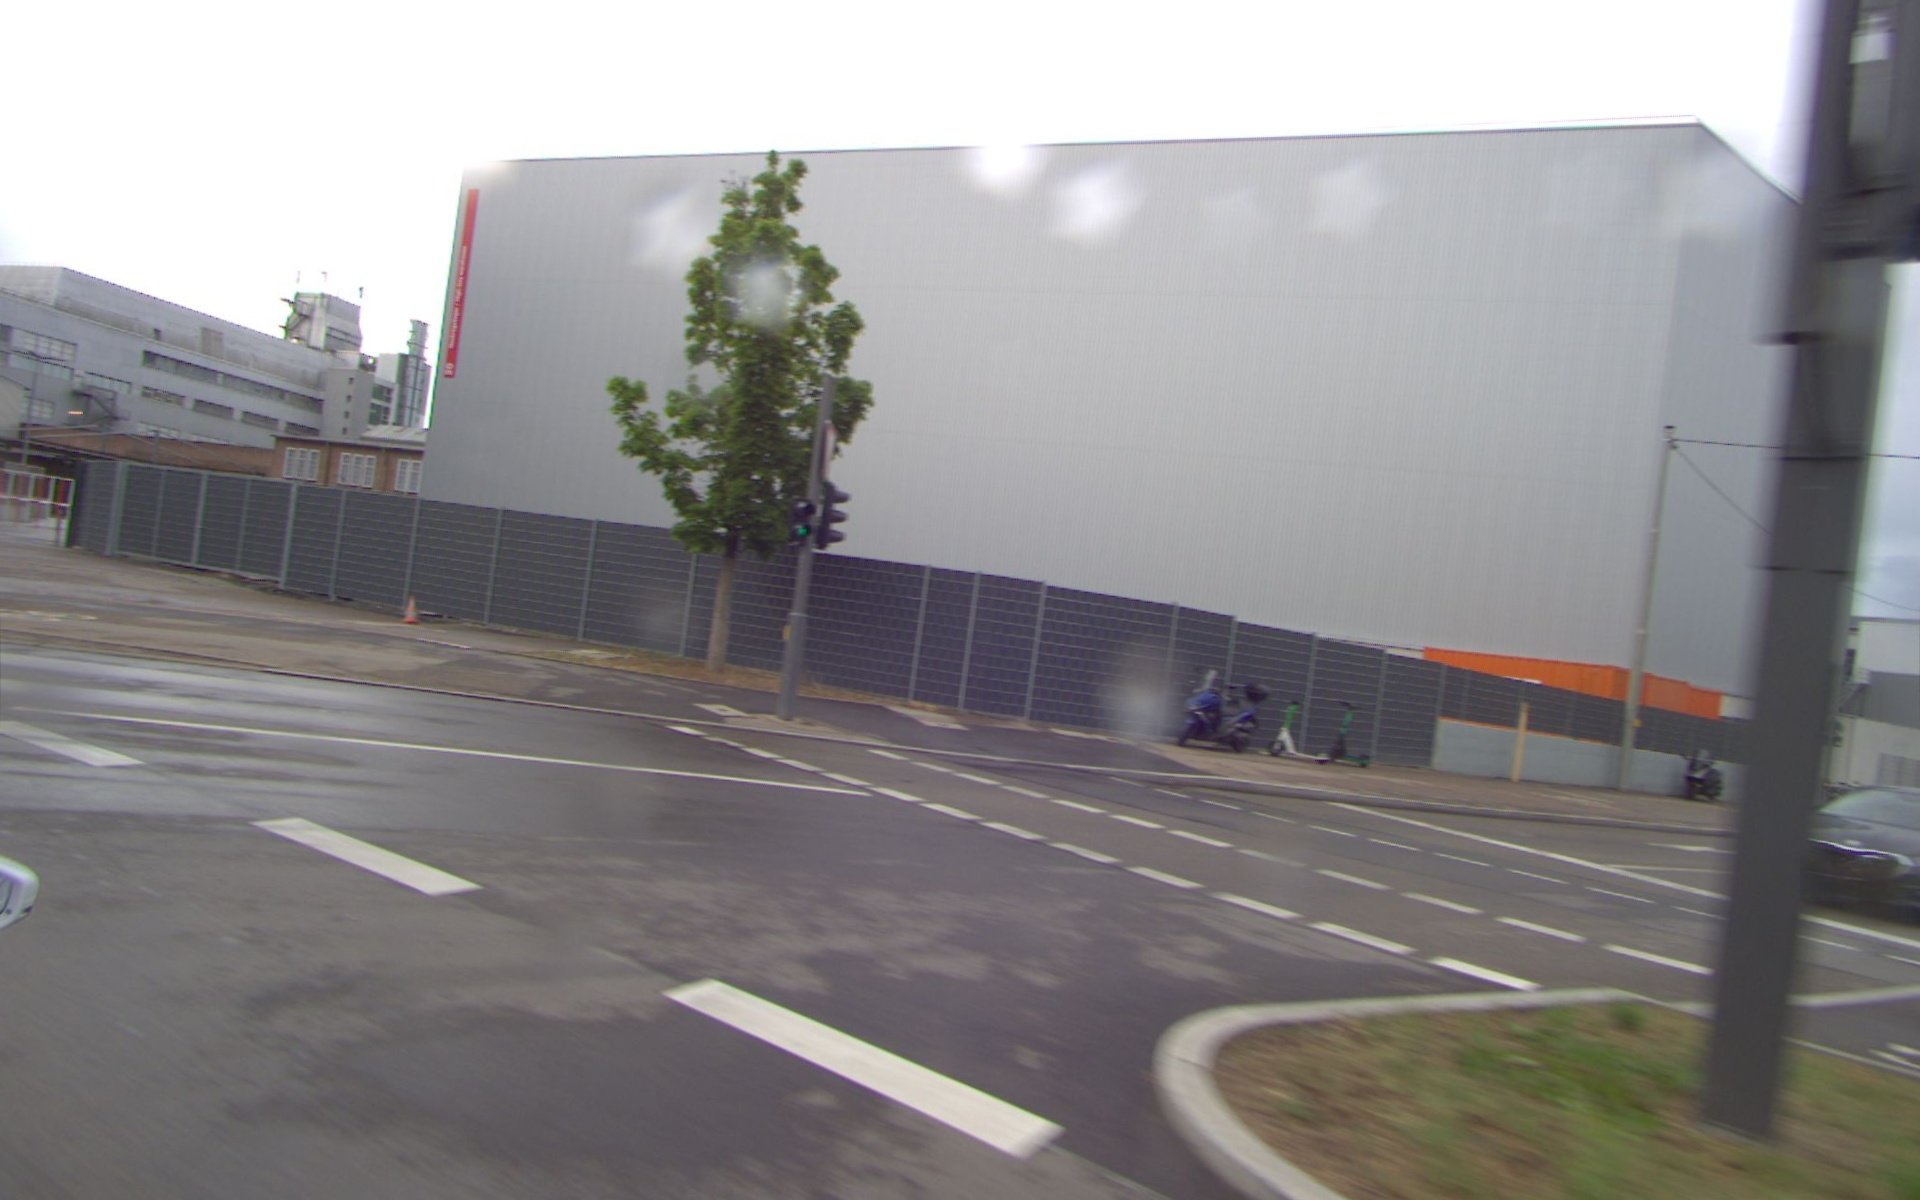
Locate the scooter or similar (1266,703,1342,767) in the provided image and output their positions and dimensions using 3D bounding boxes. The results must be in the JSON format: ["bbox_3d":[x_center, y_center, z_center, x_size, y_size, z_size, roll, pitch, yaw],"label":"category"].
[{"bbox_3d":[6.770,2.660,19.820,1.247,1.040,0.386,9,-1,1],"label":"scooter or similar"}]

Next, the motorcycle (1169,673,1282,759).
[{"bbox_3d":[4.927,2.151,18.619,2.082,1.325,0.650,10,-2,-33],"label":"motorcycle"}]

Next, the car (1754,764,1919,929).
[{"bbox_3d":[11.208,2.885,11.656,3.958,1.441,1.709,9,-3,-29],"label":"car"}]

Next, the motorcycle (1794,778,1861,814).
[{"bbox_3d":[35.557,8.023,41.254,0.622,1.087,1.907,9,-2,-38],"label":"motorcycle"}]

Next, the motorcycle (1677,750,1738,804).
[{"bbox_3d":[22.214,5.269,29.894,2.082,1.392,0.650,10,-2,-33],"label":"motorcycle"}]

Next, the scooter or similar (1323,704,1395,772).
[{"bbox_3d":[8.209,2.833,20.705,1.252,1.213,0.423,9,-1,-18],"label":"scooter or similar"}]
